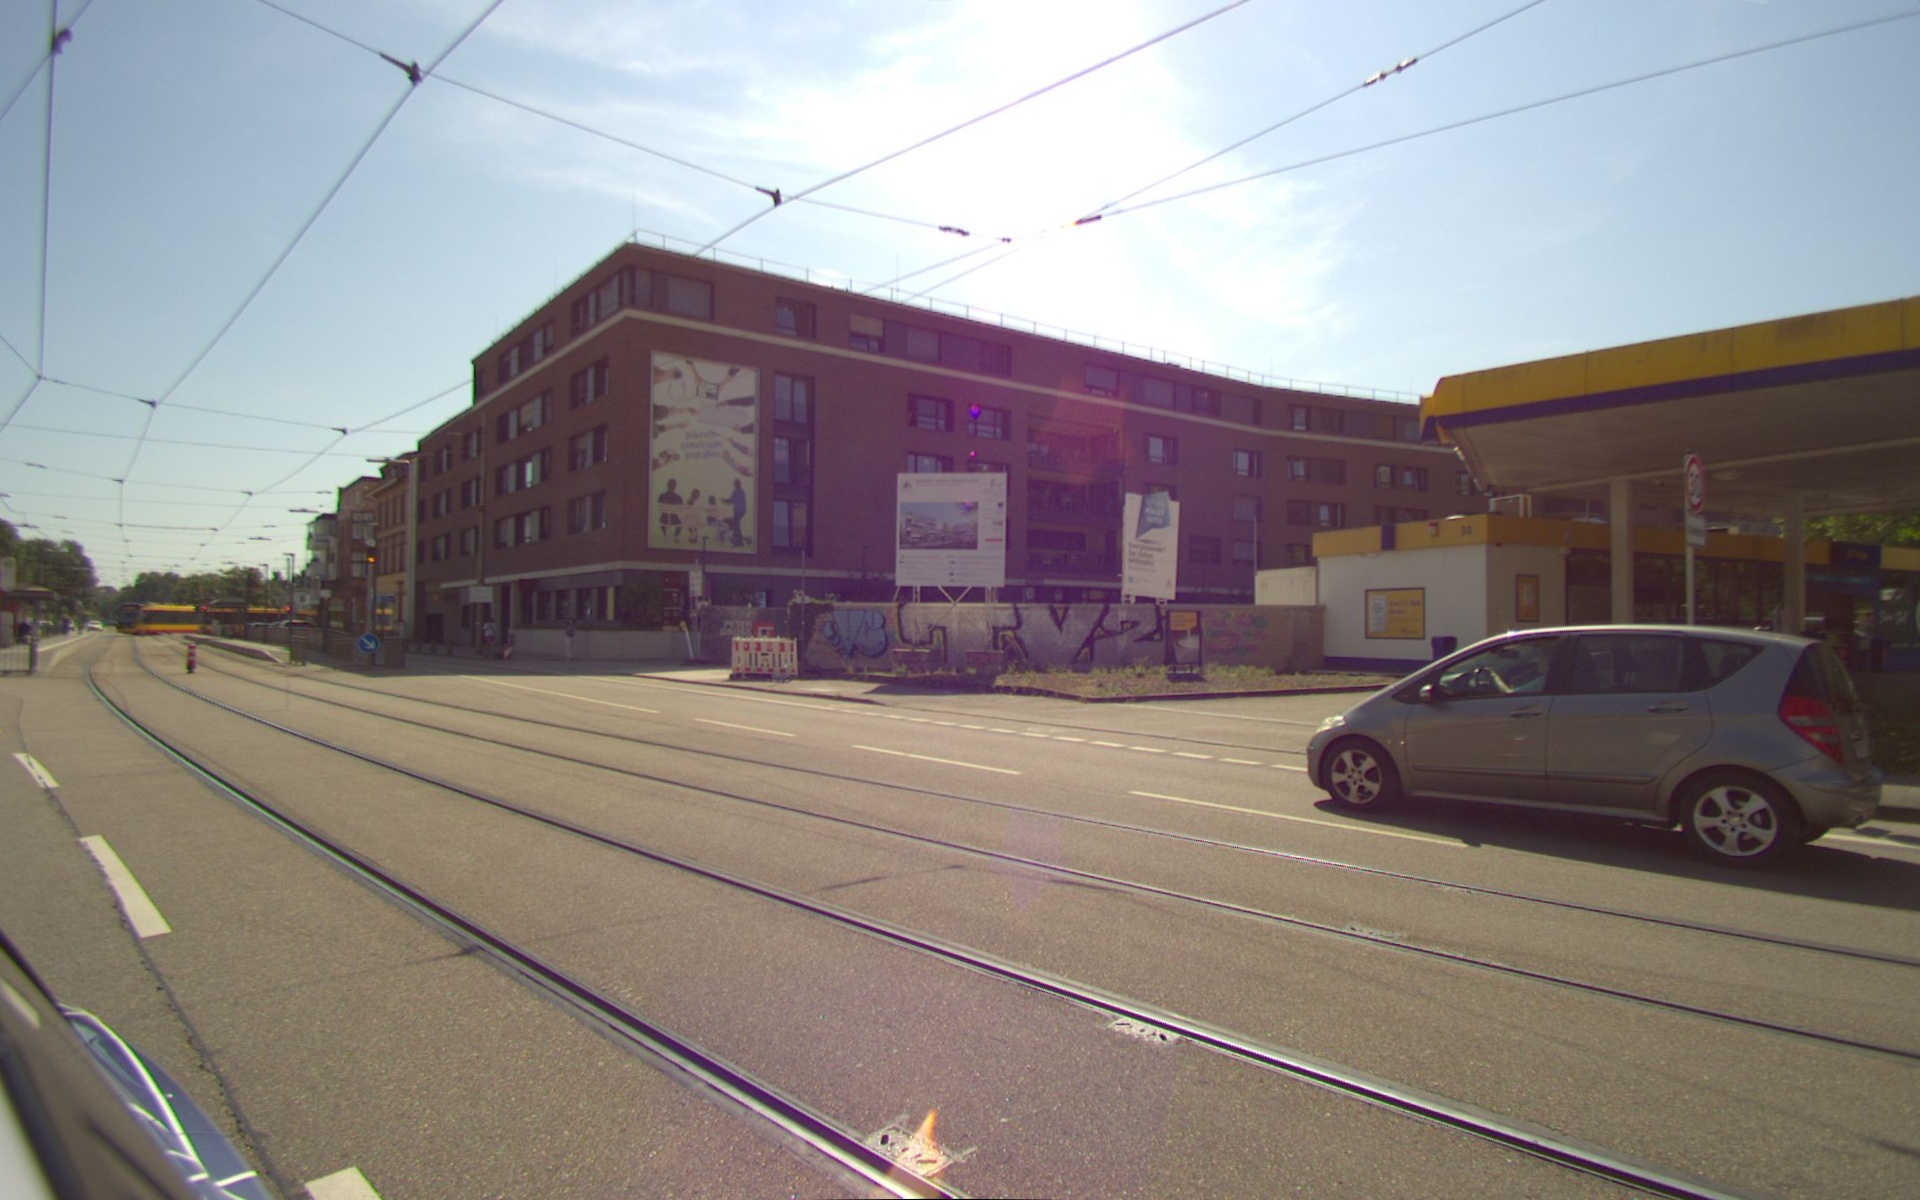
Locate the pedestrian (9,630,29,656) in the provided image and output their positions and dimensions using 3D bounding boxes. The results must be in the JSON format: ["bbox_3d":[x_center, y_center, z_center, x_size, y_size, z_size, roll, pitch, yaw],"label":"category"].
[{"bbox_3d":[-46.529,2.137,50.054,0.621,1.264,0.711,3,-3,-41],"label":"pedestrian"}]

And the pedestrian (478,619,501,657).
[{"bbox_3d":[-23.321,1.875,50.194,0.834,1.833,0.840,2,-3,-40],"label":"pedestrian"}]

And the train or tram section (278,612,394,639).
[{"bbox_3d":[-84.231,3.537,137.086,2.686,3.507,13.158,-1,-3,40],"label":"train or tram section"}]

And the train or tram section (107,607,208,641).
[{"bbox_3d":[-89.643,2.758,113.464,2.645,3.507,13.364,1,-2,-10],"label":"train or tram section"}]

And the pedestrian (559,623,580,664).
[{"bbox_3d":[-16.049,1.789,41.558,0.574,1.677,0.700,2,-3,-41],"label":"pedestrian"}]

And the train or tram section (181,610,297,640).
[{"bbox_3d":[-89.428,3.141,126.036,2.662,3.507,13.278,0,-2,14],"label":"train or tram section"}]

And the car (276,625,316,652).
[{"bbox_3d":[-44.196,2.536,67.336,1.778,1.742,4.196,0,-1,-39],"label":"car"}]

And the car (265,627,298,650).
[{"bbox_3d":[-49.514,2.776,73.837,1.690,1.635,3.585,1,-2,-40],"label":"car"}]

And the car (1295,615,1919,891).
[{"bbox_3d":[4.840,0.943,7.879,1.724,1.583,3.897,4,-3,-41],"label":"car"}]

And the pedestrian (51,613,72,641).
[{"bbox_3d":[-61.577,1.851,69.384,0.968,1.873,1.240,2,-3,-40],"label":"pedestrian"}]
